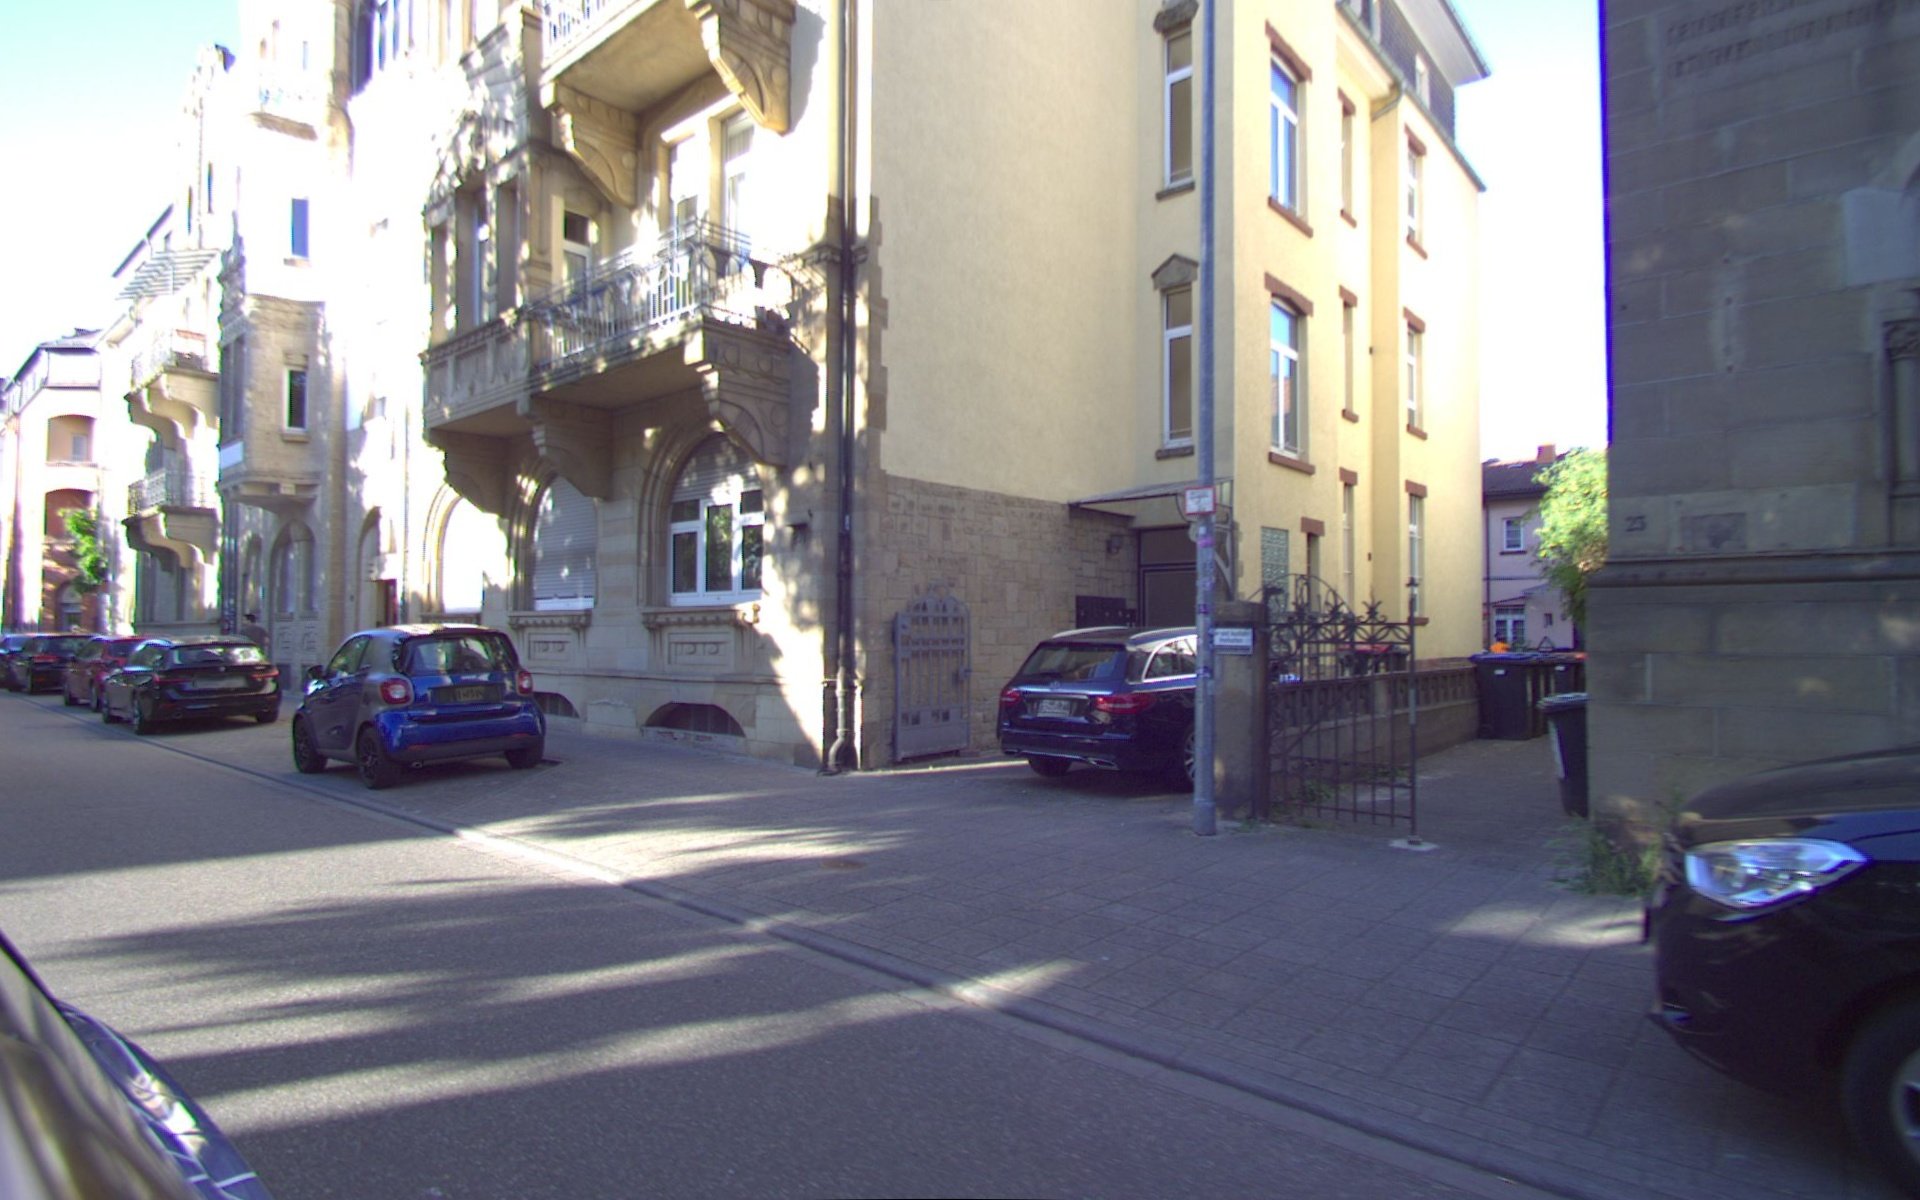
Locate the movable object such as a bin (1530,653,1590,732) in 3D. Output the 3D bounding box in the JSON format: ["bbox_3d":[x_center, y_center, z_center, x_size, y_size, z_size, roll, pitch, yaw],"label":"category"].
[{"bbox_3d":[8.694,1.316,14.664,0.585,1.101,0.779,-2,-4,43],"label":"movable object such as a bin"}]

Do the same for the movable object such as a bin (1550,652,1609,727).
[{"bbox_3d":[9.507,1.352,15.517,0.585,1.101,0.890,-2,-3,43],"label":"movable object such as a bin"}]

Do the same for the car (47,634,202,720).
[{"bbox_3d":[-16.975,1.484,20.521,3.769,1.477,1.673,-2,1,39],"label":"car"}]

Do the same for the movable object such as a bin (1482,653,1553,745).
[{"bbox_3d":[7.028,1.221,12.754,0.585,1.097,0.840,-2,-4,43],"label":"movable object such as a bin"}]

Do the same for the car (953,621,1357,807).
[{"bbox_3d":[2.167,0.965,10.347,2.068,1.449,4.342,-2,-2,43],"label":"car"}]

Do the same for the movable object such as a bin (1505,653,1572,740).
[{"bbox_3d":[7.627,1.251,13.330,0.585,1.097,0.779,-2,-4,43],"label":"movable object such as a bin"}]

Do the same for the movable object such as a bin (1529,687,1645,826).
[{"bbox_3d":[4.826,1.176,7.799,0.653,0.967,0.521,-2,-4,43],"label":"movable object such as a bin"}]

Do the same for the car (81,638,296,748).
[{"bbox_3d":[-12.712,1.398,16.559,4.539,1.450,1.881,-2,1,41],"label":"car"}]

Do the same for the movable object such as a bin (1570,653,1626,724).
[{"bbox_3d":[10.303,1.408,16.343,0.585,1.101,0.890,-2,-3,43],"label":"movable object such as a bin"}]

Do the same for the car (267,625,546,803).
[{"bbox_3d":[-5.866,1.074,10.644,2.860,1.520,1.666,-2,0,41],"label":"car"}]

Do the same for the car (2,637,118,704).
[{"bbox_3d":[-22.371,1.677,25.115,3.997,1.477,1.724,-2,-1,42],"label":"car"}]

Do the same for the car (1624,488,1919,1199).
[{"bbox_3d":[4.185,0.621,2.032,4.540,1.866,1.751,-2,-2,41],"label":"car"}]

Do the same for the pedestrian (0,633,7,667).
[{"bbox_3d":[-49.230,2.554,51.586,1.009,1.715,0.769,-2,-3,41],"label":"pedestrian"}]

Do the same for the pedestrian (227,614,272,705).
[{"bbox_3d":[-14.960,1.230,21.298,0.497,1.861,0.685,-2,-2,43],"label":"pedestrian"}]

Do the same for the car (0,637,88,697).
[{"bbox_3d":[-26.614,1.879,28.853,4.506,1.468,1.870,-2,1,39],"label":"car"}]
